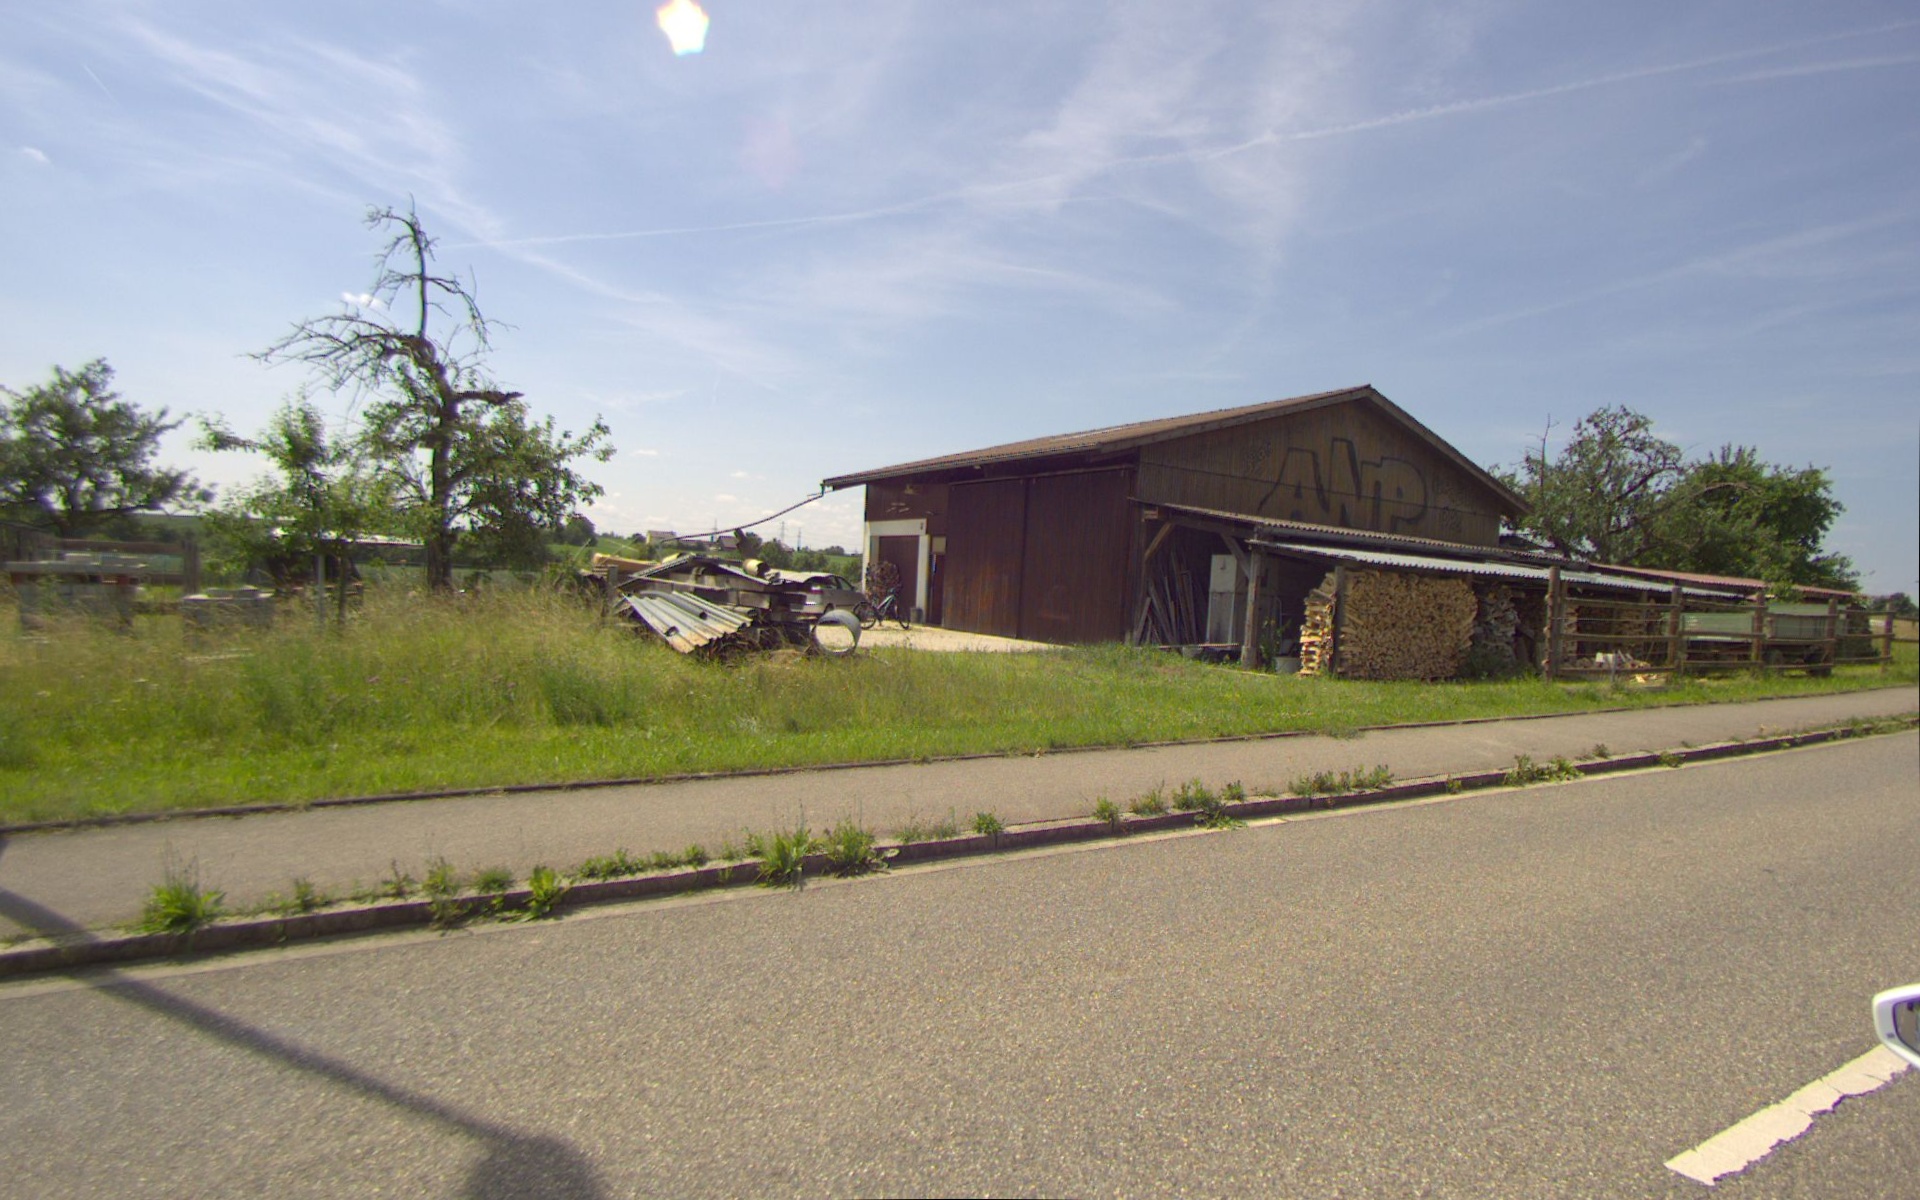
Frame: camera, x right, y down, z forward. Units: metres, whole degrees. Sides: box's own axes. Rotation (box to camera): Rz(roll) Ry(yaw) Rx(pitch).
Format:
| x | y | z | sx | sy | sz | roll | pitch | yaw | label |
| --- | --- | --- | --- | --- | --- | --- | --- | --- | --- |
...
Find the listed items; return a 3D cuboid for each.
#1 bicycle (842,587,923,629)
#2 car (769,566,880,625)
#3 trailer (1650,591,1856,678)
| x | y | z | sx | sy | sz | roll | pitch | yaw | label |
| --- | --- | --- | --- | --- | --- | --- | --- | --- | --- |
| -2.138 | 0.237 | 27.856 | 2.087 | 1.093 | 0.826 | 1 | 2 | -31 | bicycle |
| -4.005 | -0.185 | 30.372 | 1.758 | 1.539 | 4.000 | 4 | 3 | 17 | car |
| 17.654 | 0.736 | 22.294 | 4.976 | 1.726 | 2.141 | 1 | 0 | -34 | trailer |
